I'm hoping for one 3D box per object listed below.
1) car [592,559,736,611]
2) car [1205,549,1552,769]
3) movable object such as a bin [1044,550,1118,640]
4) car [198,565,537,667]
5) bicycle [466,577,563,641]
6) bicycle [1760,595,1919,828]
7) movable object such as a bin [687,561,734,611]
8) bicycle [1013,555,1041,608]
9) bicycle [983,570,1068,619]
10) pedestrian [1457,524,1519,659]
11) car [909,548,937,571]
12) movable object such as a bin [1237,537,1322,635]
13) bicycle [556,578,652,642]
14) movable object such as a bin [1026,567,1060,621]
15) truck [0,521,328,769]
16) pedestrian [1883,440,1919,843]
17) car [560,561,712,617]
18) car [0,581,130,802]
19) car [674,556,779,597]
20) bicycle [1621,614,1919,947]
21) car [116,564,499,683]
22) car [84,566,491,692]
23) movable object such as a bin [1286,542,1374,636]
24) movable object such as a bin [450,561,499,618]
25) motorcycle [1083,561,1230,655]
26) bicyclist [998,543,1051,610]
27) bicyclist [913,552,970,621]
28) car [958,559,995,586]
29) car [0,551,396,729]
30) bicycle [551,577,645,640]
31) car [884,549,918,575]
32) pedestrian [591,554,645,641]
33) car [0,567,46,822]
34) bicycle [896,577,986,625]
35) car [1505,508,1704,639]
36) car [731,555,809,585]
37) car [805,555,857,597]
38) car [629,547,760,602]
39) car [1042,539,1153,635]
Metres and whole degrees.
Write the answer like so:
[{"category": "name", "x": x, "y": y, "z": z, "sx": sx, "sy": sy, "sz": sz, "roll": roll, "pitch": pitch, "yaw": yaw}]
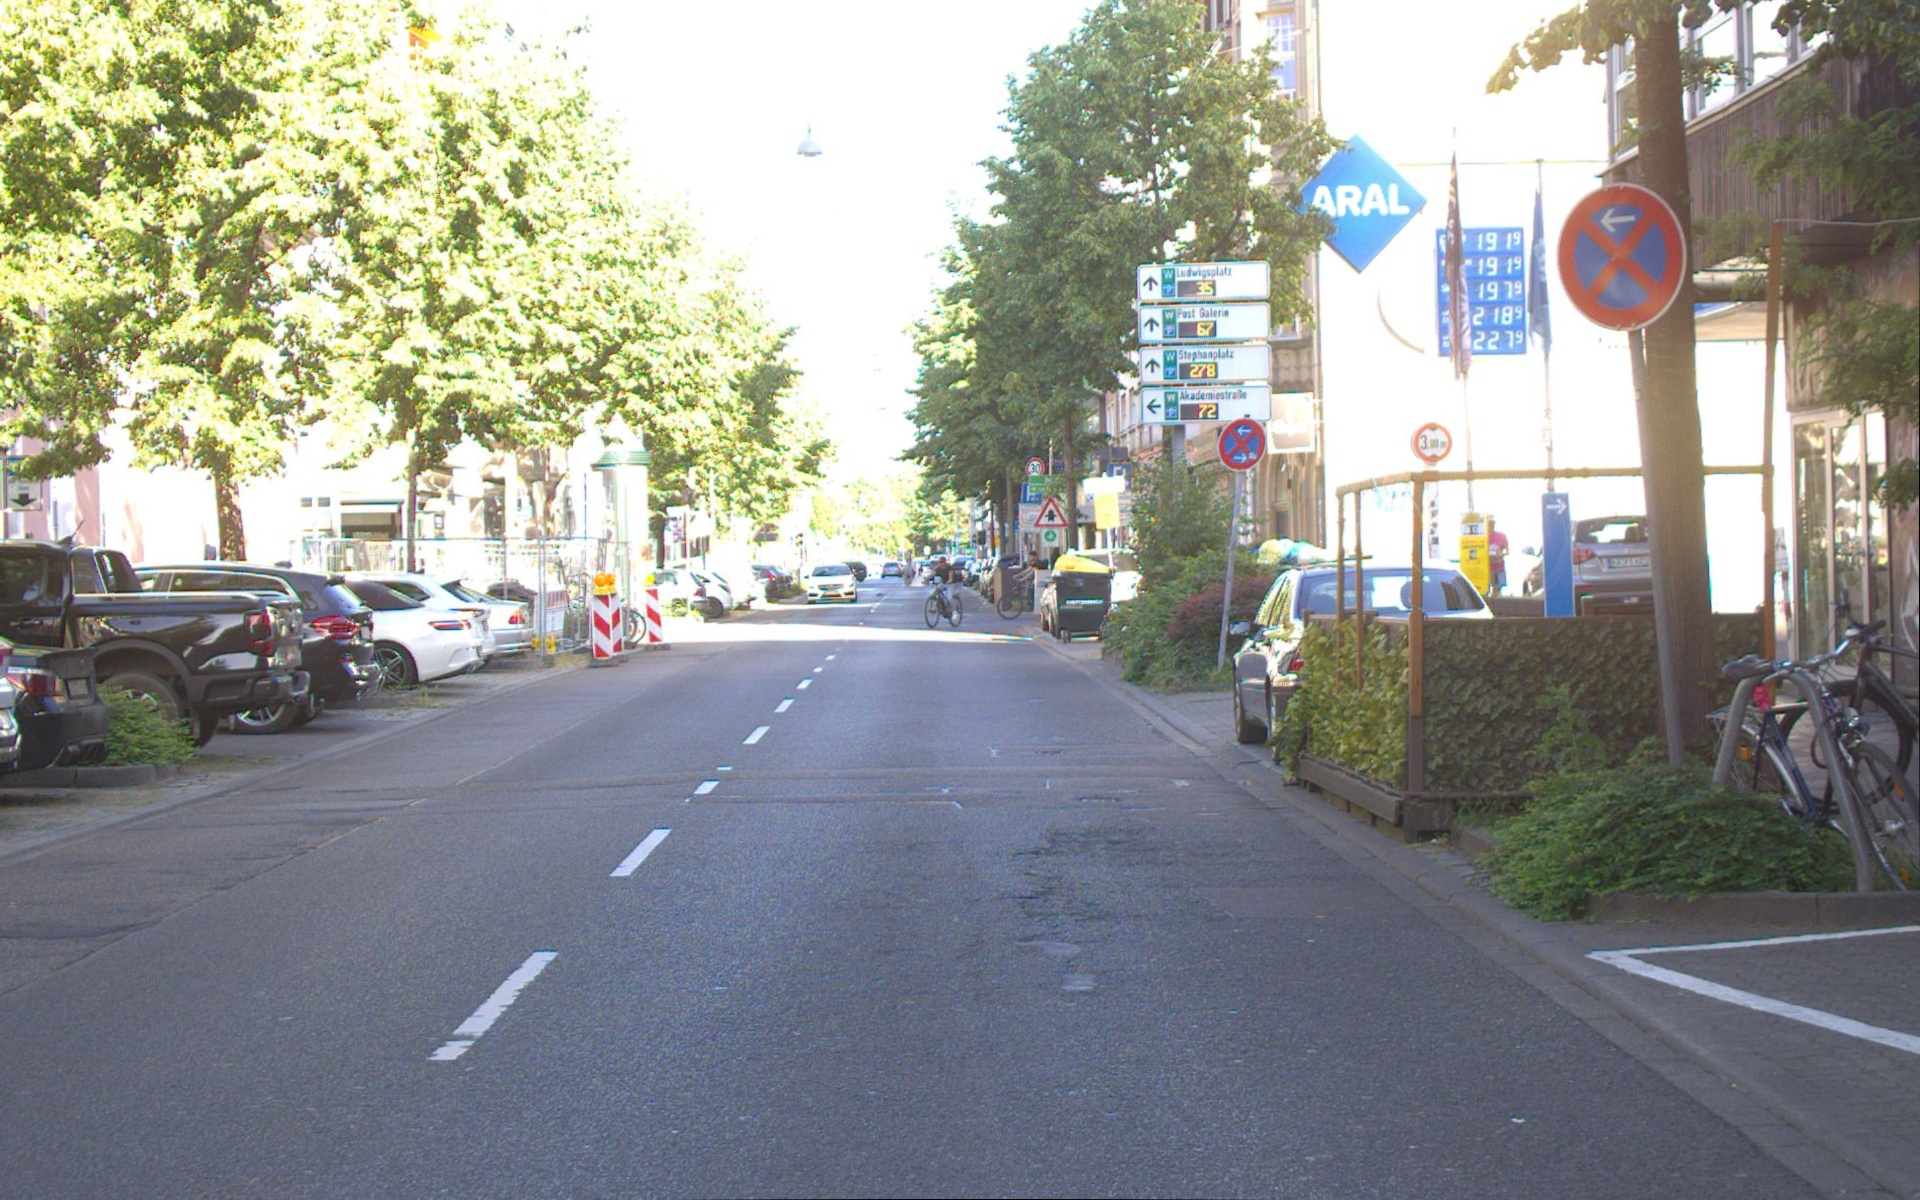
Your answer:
[{"category": "car", "x": -8.556, "y": -0.451, "z": 99.607, "sx": 3.987, "sy": 1.385, "sz": 2.000, "roll": -1, "pitch": 1, "yaw": -1}, {"category": "car", "x": 3.028, "y": 0.372, "z": 25.816, "sx": 1.901, "sy": 1.407, "sz": 4.647, "roll": -3, "pitch": 1, "yaw": -1}, {"category": "movable object such as a bin", "x": 2.182, "y": -0.092, "z": 61.612, "sx": 1.143, "sy": 1.556, "sz": 1.459, "roll": -2, "pitch": 1, "yaw": 8}, {"category": "car", "x": -8.573, "y": 0.218, "z": 50.039, "sx": 4.680, "sy": 1.407, "sz": 1.808, "roll": -1, "pitch": 0, "yaw": -3}, {"category": "bicycle", "x": -8.749, "y": 0.180, "z": 67.492, "sx": 1.788, "sy": 1.248, "sz": 0.600, "roll": 0, "pitch": 1, "yaw": 11}, {"category": "bicycle", "x": 4.974, "y": 0.554, "z": 17.419, "sx": 0.680, "sy": 1.145, "sz": 1.684, "roll": -2, "pitch": 1, "yaw": -42}, {"category": "movable object such as a bin", "x": -7.702, "y": -0.441, "z": 106.288, "sx": 1.334, "sy": 1.473, "sz": 1.480, "roll": -1, "pitch": 1, "yaw": -1}, {"category": "bicycle", "x": 1.905, "y": -0.540, "z": 97.775, "sx": 0.560, "sy": 1.436, "sz": 1.628, "roll": -7, "pitch": 1, "yaw": -1}, {"category": "bicycle", "x": 1.670, "y": -0.146, "z": 88.047, "sx": 2.028, "sy": 1.215, "sz": 0.721, "roll": -2, "pitch": 1, "yaw": -18}, {"category": "pedestrian", "x": 7.359, "y": -0.123, "z": 47.920, "sx": 0.707, "sy": 1.843, "sz": 0.688, "roll": -2, "pitch": 1, "yaw": 0}, {"category": "car", "x": -2.392, "y": -2.579, "z": 220.783, "sx": 1.792, "sy": 1.406, "sz": 4.000, "roll": -1, "pitch": 1, "yaw": -1}, {"category": "movable object such as a bin", "x": 5.479, "y": -0.244, "z": 59.055, "sx": 1.205, "sy": 1.622, "sz": 1.498, "roll": -2, "pitch": 1, "yaw": -2}, {"category": "bicycle", "x": -7.007, "y": 0.194, "z": 67.677, "sx": 1.854, "sy": 1.248, "sz": 0.600, "roll": 0, "pitch": 1, "yaw": -8}, {"category": "movable object such as a bin", "x": 1.925, "y": -0.141, "z": 79.560, "sx": 0.705, "sy": 1.218, "sz": 0.681, "roll": -1, "pitch": 1, "yaw": -3}, {"category": "truck", "x": -8.032, "y": 0.392, "z": 28.742, "sx": 5.084, "sy": 1.931, "sz": 2.000, "roll": -2, "pitch": 1, "yaw": -1}, {"category": "pedestrian", "x": 5.029, "y": 0.185, "z": 16.662, "sx": 0.926, "sy": 1.929, "sz": 0.760, "roll": -1, "pitch": 1, "yaw": 25}, {"category": "car", "x": -8.816, "y": -0.308, "z": 93.819, "sx": 3.987, "sy": 1.385, "sz": 2.000, "roll": -1, "pitch": 1, "yaw": -1}, {"category": "car", "x": -8.298, "y": 0.623, "z": 23.730, "sx": 4.680, "sy": 1.458, "sz": 1.808, "roll": -1, "pitch": 0, "yaw": 1}, {"category": "car", "x": -9.169, "y": -0.934, "z": 135.284, "sx": 3.987, "sy": 1.494, "sz": 2.000, "roll": -1, "pitch": 1, "yaw": -1}, {"category": "bicycle", "x": 3.346, "y": 0.663, "z": 13.622, "sx": 0.607, "sy": 1.116, "sz": 2.056, "roll": -8, "pitch": 2, "yaw": -10}, {"category": "car", "x": -8.418, "y": 0.289, "z": 44.634, "sx": 4.680, "sy": 1.460, "sz": 1.808, "roll": -1, "pitch": 0, "yaw": -3}, {"category": "car", "x": -8.171, "y": 0.335, "z": 42.073, "sx": 4.680, "sy": 1.460, "sz": 1.808, "roll": -1, "pitch": 0, "yaw": -3}, {"category": "movable object such as a bin", "x": 6.203, "y": -0.195, "z": 57.690, "sx": 1.270, "sy": 1.525, "sz": 1.177, "roll": -2, "pitch": 1, "yaw": -2}, {"category": "movable object such as a bin", "x": -12.911, "y": -0.290, "z": 91.373, "sx": 1.140, "sy": 1.480, "sz": 1.236, "roll": -1, "pitch": 1, "yaw": -3}, {"category": "motorcycle", "x": 2.923, "y": 0.108, "z": 51.280, "sx": 1.977, "sy": 1.325, "sz": 0.912, "roll": -2, "pitch": 1, "yaw": -13}, {"category": "bicyclist", "x": 1.658, "y": -0.602, "z": 88.046, "sx": 1.153, "sy": 1.687, "sz": 0.721, "roll": -2, "pitch": 1, "yaw": -18}, {"category": "bicyclist", "x": -0.424, "y": -0.308, "z": 79.521, "sx": 1.037, "sy": 1.555, "sz": 0.769, "roll": -2, "pitch": 1, "yaw": -35}, {"category": "car", "x": 0.939, "y": -1.589, "z": 198.815, "sx": 1.993, "sy": 1.503, "sz": 4.000, "roll": -1, "pitch": 0, "yaw": -1}, {"category": "car", "x": -8.082, "y": 0.383, "z": 34.020, "sx": 4.680, "sy": 1.687, "sz": 1.808, "roll": -1, "pitch": 0, "yaw": 1}, {"category": "bicycle", "x": -7.231, "y": 0.160, "z": 68.689, "sx": 1.854, "sy": 1.248, "sz": 0.600, "roll": 0, "pitch": 1, "yaw": -8}, {"category": "car", "x": -3.414, "y": -2.207, "z": 198.136, "sx": 1.822, "sy": 1.386, "sz": 4.301, "roll": -4, "pitch": 1, "yaw": -2}, {"category": "pedestrian", "x": -6.802, "y": -0.055, "z": 68.351, "sx": 0.792, "sy": 1.702, "sz": 0.767, "roll": -1, "pitch": 1, "yaw": -33}, {"category": "car", "x": -8.250, "y": 0.604, "z": 21.288, "sx": 4.680, "sy": 1.566, "sz": 1.808, "roll": -1, "pitch": 0, "yaw": 1}, {"category": "bicycle", "x": -0.437, "y": 0.021, "z": 79.527, "sx": 1.949, "sy": 1.055, "sz": 0.769, "roll": -2, "pitch": 1, "yaw": -35}, {"category": "car", "x": 8.721, "y": -0.368, "z": 46.833, "sx": 1.901, "sy": 1.642, "sz": 4.293, "roll": -2, "pitch": 1, "yaw": 1}, {"category": "car", "x": -9.945, "y": -1.582, "z": 180.241, "sx": 3.987, "sy": 1.494, "sz": 2.000, "roll": -1, "pitch": 1, "yaw": -1}, {"category": "car", "x": -4.730, "y": -0.894, "z": 126.507, "sx": 1.802, "sy": 1.430, "sz": 4.410, "roll": -4, "pitch": 1, "yaw": -2}, {"category": "car", "x": -8.675, "y": -0.852, "z": 112.516, "sx": 3.987, "sy": 1.688, "sz": 2.000, "roll": -1, "pitch": 1, "yaw": 4}, {"category": "car", "x": 2.605, "y": -0.266, "z": 65.930, "sx": 1.822, "sy": 1.673, "sz": 4.601, "roll": -4, "pitch": 1, "yaw": 0}]
